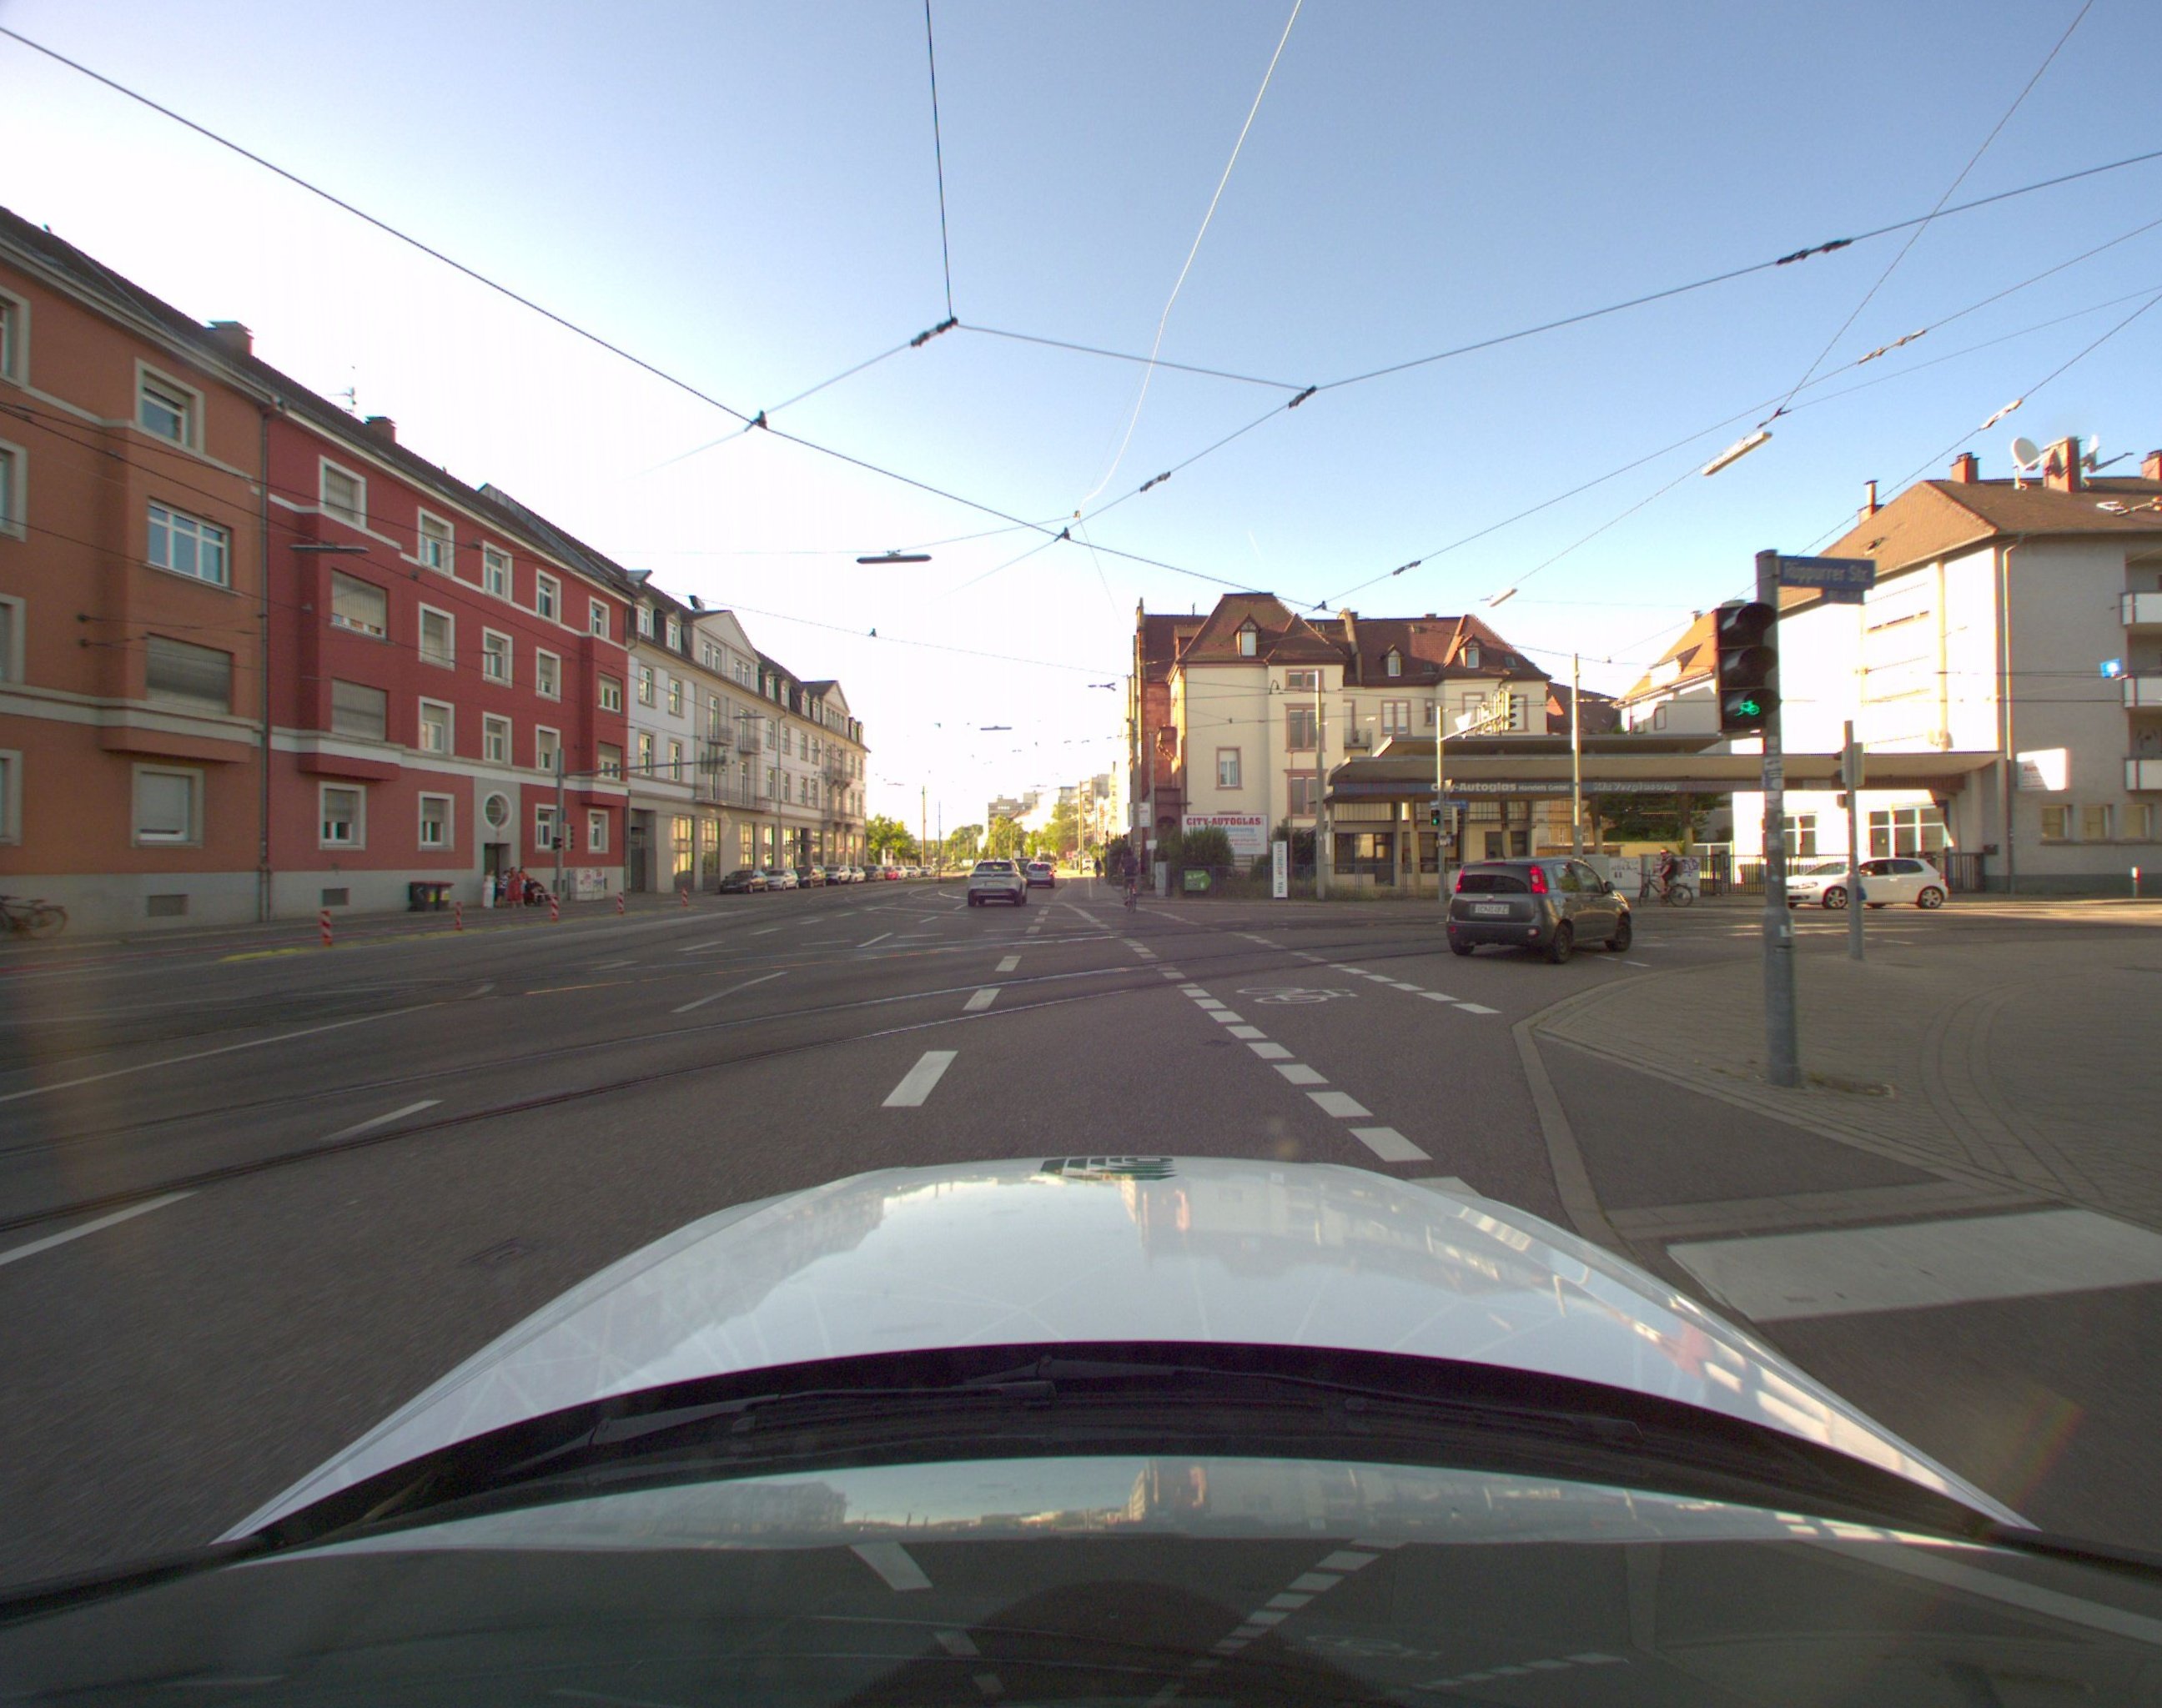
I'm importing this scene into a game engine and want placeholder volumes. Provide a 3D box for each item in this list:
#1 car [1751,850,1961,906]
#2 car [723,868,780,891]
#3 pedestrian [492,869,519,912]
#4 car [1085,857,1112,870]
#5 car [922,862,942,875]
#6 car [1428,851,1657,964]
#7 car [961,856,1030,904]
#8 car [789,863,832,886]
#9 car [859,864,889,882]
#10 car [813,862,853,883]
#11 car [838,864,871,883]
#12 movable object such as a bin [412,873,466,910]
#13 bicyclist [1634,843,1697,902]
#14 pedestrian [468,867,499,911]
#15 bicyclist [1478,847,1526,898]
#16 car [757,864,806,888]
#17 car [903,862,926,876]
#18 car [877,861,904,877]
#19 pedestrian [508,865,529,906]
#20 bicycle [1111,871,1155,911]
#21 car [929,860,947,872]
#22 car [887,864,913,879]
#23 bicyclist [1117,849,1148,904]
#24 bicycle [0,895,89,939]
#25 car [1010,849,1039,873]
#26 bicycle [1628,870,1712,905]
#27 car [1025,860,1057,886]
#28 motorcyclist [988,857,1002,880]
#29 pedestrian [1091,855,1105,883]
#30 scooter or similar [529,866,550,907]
[{"bbox_3d":[21.941,0.682,23.187,4.160,1.458,1.797,-1,-2,1],"label":"car"},{"bbox_3d":[-19.580,1.483,48.529,1.713,1.232,4.000,-1,0,1],"label":"car"},{"bbox_3d":[-22.356,1.388,31.612,0.835,1.633,0.786,0,-1,-37],"label":"pedestrian"},{"bbox_3d":[2.860,1.530,134.521,4.256,2.014,1.994,0,-1,-9],"label":"car"},{"bbox_3d":[-19.317,1.869,105.883,1.713,1.552,4.000,-1,0,1],"label":"car"},{"bbox_3d":[7.362,0.718,12.848,4.019,1.500,1.717,0,0,-38],"label":"car"},{"bbox_3d":[-2.892,0.854,28.361,1.941,1.528,4.089,0,0,0],"label":"car"},{"bbox_3d":[-19.565,1.435,59.067,1.713,1.552,3.856,-1,0,1],"label":"car"},{"bbox_3d":[-19.312,1.725,76.052,1.713,1.552,4.000,-1,0,1],"label":"car"},{"bbox_3d":[-20.009,1.483,65.841,1.829,1.552,4.274,-1,0,1],"label":"car"},{"bbox_3d":[-19.702,1.689,70.978,1.713,1.552,4.000,-1,0,1],"label":"car"},{"bbox_3d":[-22.805,1.316,28.941,0.866,1.249,1.236,-1,-1,7],"label":"movable object such as a bin"},{"bbox_3d":[18.118,0.571,25.264,1.247,1.787,0.910,-1,-1,-4],"label":"bicyclist"},{"bbox_3d":[-22.600,1.321,30.813,0.796,1.633,0.650,0,-1,-21],"label":"pedestrian"},{"bbox_3d":[12.840,0.560,24.857,1.042,1.526,0.881,-1,-1,8],"label":"bicyclist"},{"bbox_3d":[-19.851,1.428,54.115,1.713,1.452,4.000,-1,0,1],"label":"car"},{"bbox_3d":[-19.384,1.716,95.025,1.713,1.552,4.001,-1,-1,1],"label":"car"},{"bbox_3d":[-19.151,1.496,82.015,1.713,1.552,4.000,-1,0,1],"label":"car"},{"bbox_3d":[-22.662,1.261,32.837,0.657,1.633,0.787,0,-1,-32],"label":"pedestrian"},{"bbox_3d":[1.488,1.056,23.622,0.771,1.086,1.863,-1,0,-12],"label":"bicycle"},{"bbox_3d":[-19.624,1.641,111.901,1.713,1.552,4.000,-1,0,1],"label":"car"},{"bbox_3d":[-19.254,1.830,86.755,1.713,1.552,4.000,-1,-1,1],"label":"car"},{"bbox_3d":[1.481,0.643,23.525,0.831,1.525,0.994,-1,-1,0],"label":"bicyclist"},{"bbox_3d":[-23.141,1.379,18.003,0.333,0.890,1.606,-1,-1,5],"label":"bicycle"},{"bbox_3d":[-4.939,0.653,71.759,2.164,2.009,4.808,-1,-1,1],"label":"car"},{"bbox_3d":[18.269,1.032,25.277,2.034,1.017,0.728,-1,-1,1],"label":"bicycle"},{"bbox_3d":[-2.503,1.218,52.257,1.808,1.582,4.000,-1,-1,0],"label":"car"},{"bbox_3d":[-5.399,0.925,51.211,0.775,1.423,0.891,-1,0,-1],"label":"motorcyclist"},{"bbox_3d":[1.104,0.957,52.629,0.872,1.824,1.185,-1,-1,2],"label":"pedestrian"},{"bbox_3d":[-22.068,1.322,33.204,0.657,1.633,0.787,0,-1,-32],"label":"scooter or similar"}]
